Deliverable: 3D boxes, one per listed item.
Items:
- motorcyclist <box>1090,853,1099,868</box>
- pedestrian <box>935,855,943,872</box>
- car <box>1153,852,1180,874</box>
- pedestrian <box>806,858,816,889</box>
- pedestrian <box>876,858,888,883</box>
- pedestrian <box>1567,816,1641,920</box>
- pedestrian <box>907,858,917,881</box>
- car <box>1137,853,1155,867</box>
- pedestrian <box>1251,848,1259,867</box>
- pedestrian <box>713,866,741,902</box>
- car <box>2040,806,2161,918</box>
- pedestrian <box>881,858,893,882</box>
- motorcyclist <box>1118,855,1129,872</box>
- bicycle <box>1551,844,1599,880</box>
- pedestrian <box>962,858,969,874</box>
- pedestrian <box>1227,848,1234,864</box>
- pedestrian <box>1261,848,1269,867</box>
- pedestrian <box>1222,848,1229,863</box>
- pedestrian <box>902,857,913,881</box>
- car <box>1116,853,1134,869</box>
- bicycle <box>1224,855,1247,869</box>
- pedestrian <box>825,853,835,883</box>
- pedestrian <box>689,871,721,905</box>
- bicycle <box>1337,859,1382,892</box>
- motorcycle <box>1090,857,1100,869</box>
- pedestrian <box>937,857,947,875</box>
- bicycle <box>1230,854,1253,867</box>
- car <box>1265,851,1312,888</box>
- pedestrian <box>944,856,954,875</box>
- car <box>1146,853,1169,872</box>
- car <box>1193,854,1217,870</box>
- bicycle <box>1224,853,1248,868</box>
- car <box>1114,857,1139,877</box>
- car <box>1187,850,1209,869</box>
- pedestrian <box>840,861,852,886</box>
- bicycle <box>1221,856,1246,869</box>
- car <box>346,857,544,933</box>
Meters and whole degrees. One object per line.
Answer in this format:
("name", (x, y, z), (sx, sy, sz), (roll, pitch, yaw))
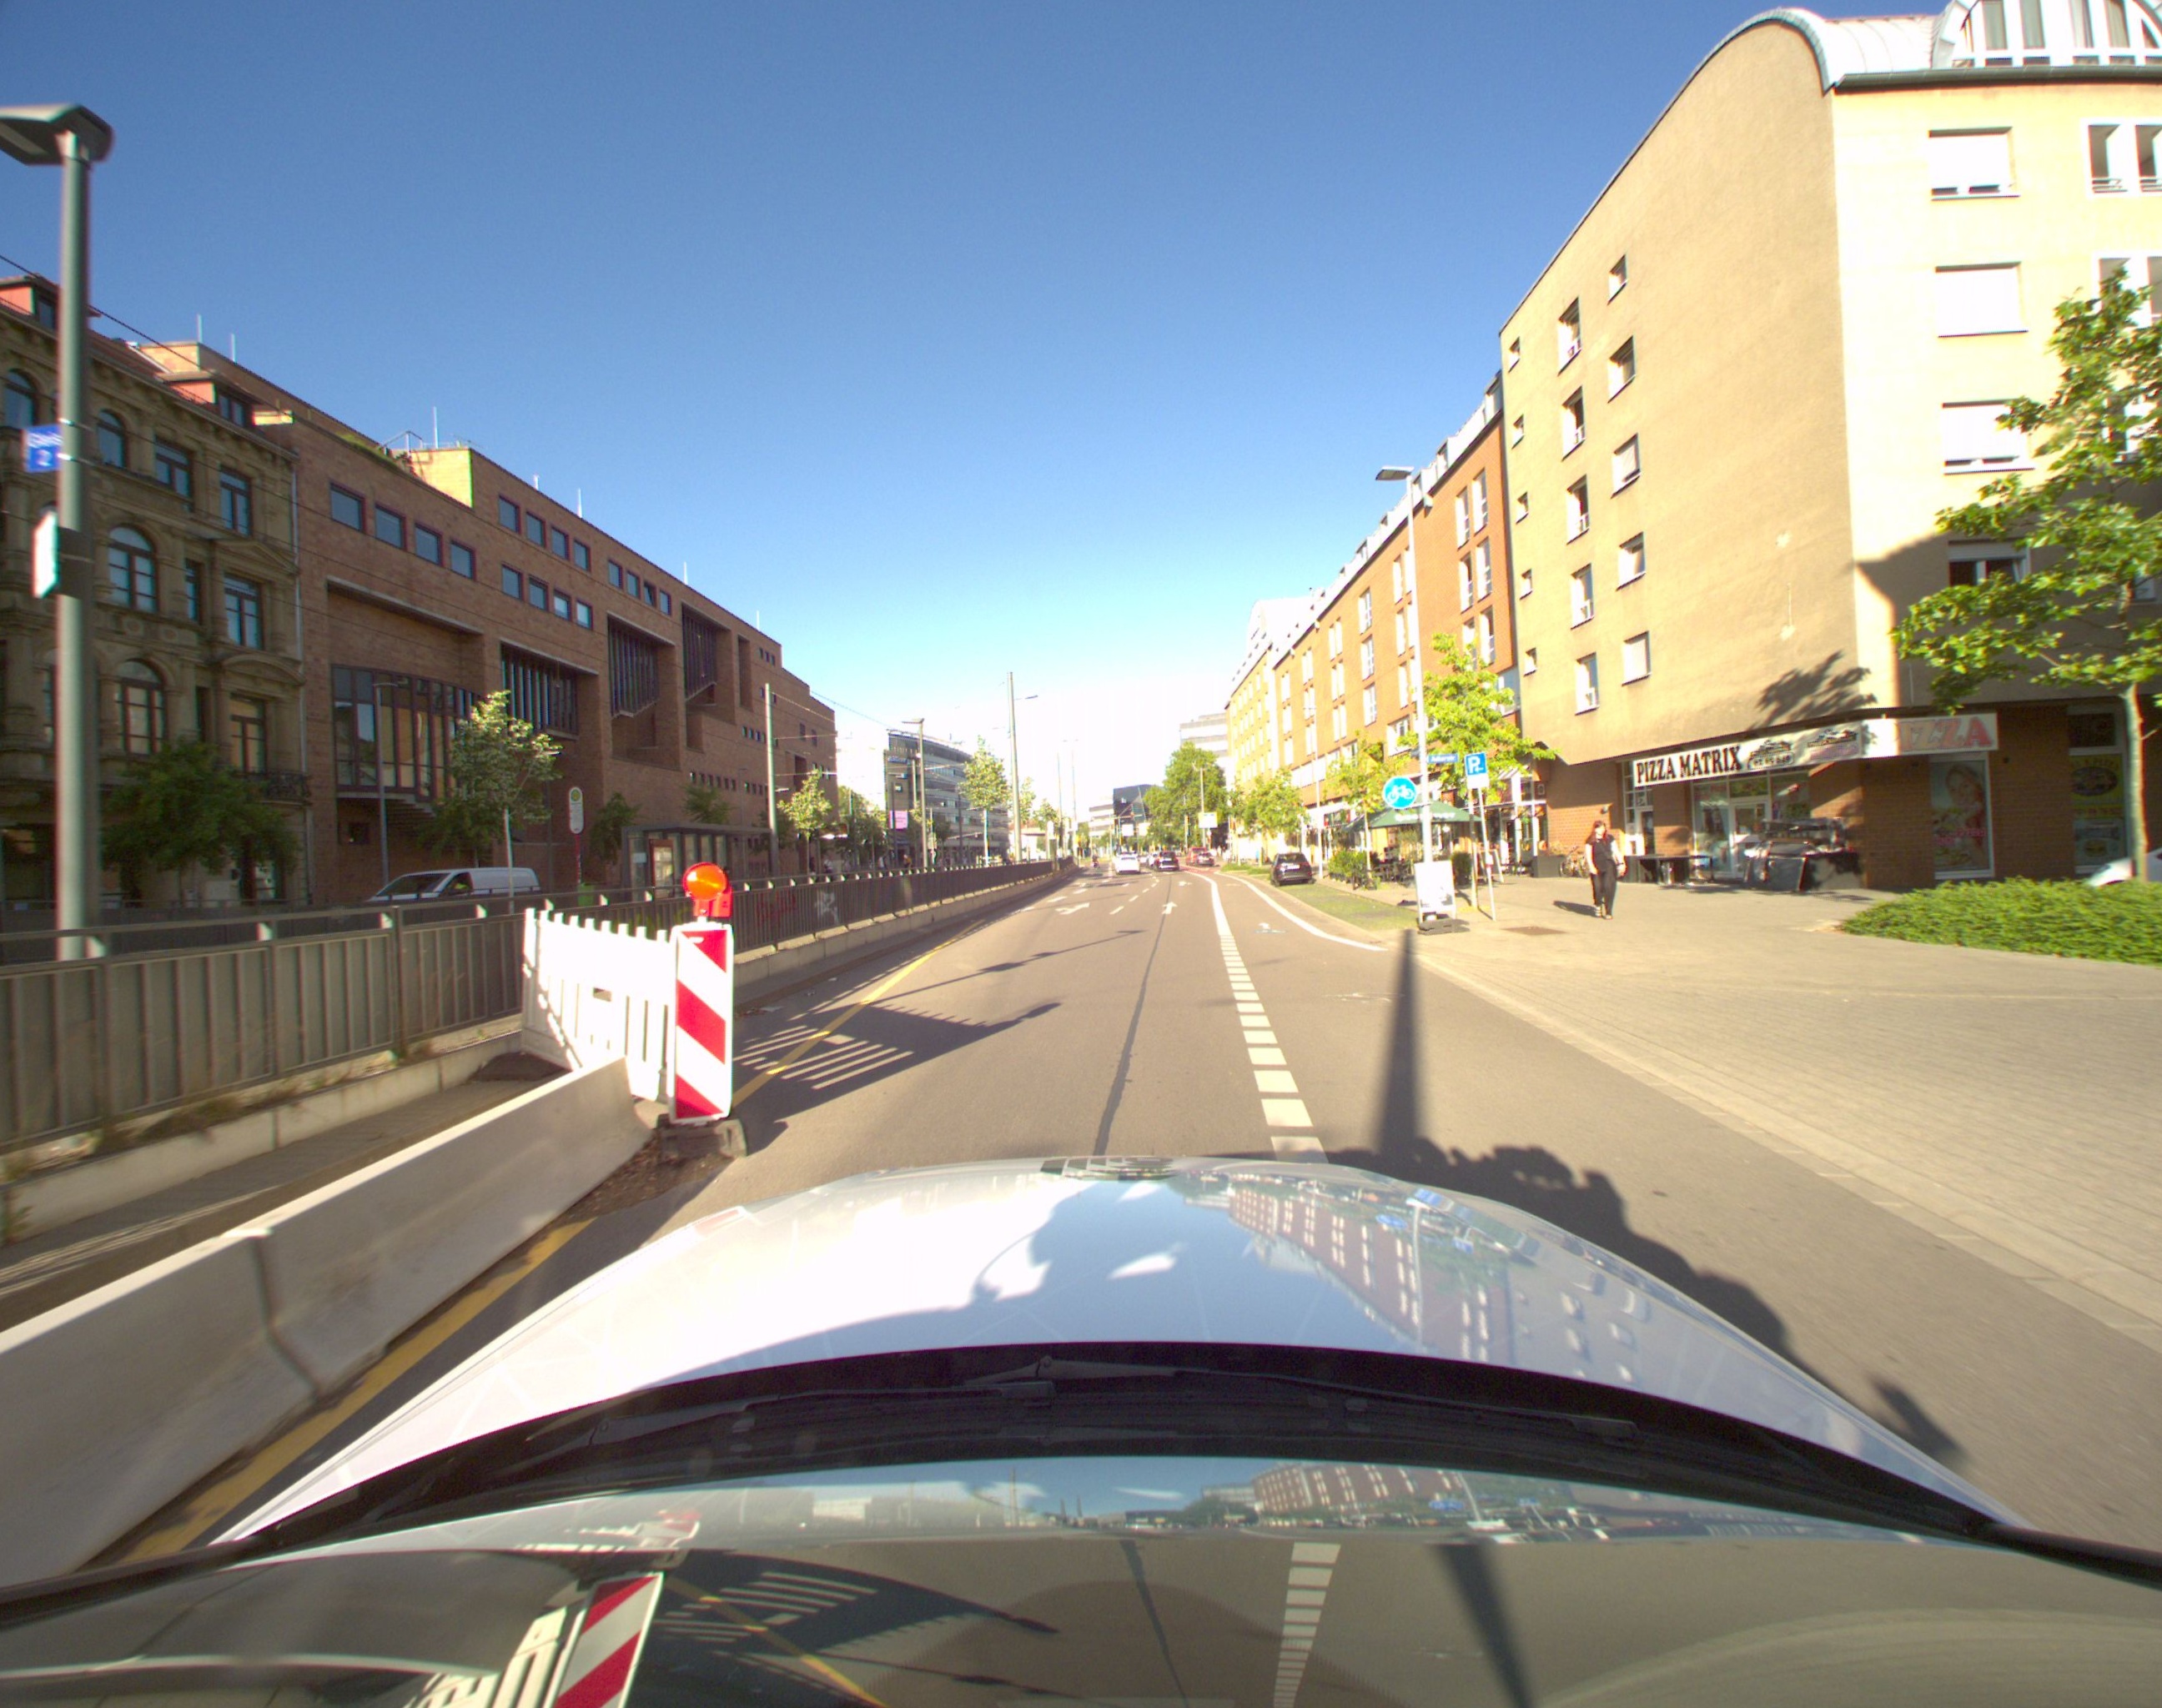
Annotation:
("motorcyclist", (1.484, 0.684, 88.792), (1.015, 1.603, 1.149), (0, 0, 2))
("pedestrian", (-13.699, 0.952, 78.574), (0.561, 1.609, 0.616), (-1, 0, 2))
("car", (7.173, 0.699, 68.500), (1.967, 1.759, 4.635), (0, 0, 2))
("pedestrian", (-14.116, 1.010, 42.569), (0.376, 1.648, 0.416), (0, 0, 2))
("pedestrian", (-13.720, 1.133, 56.196), (0.620, 1.714, 0.616), (-1, 0, 2))
("pedestrian", (9.402, 0.247, 14.685), (0.876, 1.763, 1.112), (-5, -2, 26))
("pedestrian", (-13.080, 1.215, 63.119), (0.579, 1.738, 0.616), (-1, 0, 2))
("car", (7.392, 0.668, 93.056), (1.844, 1.497, 4.381), (-2, 0, 2))
("pedestrian", (16.674, 0.352, 77.991), (0.604, 1.821, 0.748), (-2, -1, 1))
("pedestrian", (-13.746, 1.159, 31.632), (0.643, 1.309, 0.722), (-4, 0, 2))
("car", (15.233, 0.098, 10.231), (1.662, 1.474, 3.824), (0, 0, -10))
("pedestrian", (-13.641, 1.129, 57.241), (0.620, 1.612, 0.616), (-1, 0, 2))
("motorcyclist", (3.717, 0.804, 71.774), (0.834, 1.475, 1.236), (-2, 0, 1))
("bicycle", (16.946, 0.259, 27.969), (0.612, 1.169, 1.536), (-4, 0, -1))
("pedestrian", (-12.818, 1.320, 90.168), (0.611, 1.817, 0.897), (-1, 0, 2))
("pedestrian", (17.516, 0.187, 95.233), (0.604, 1.821, 0.748), (-2, -1, 1))
("pedestrian", (17.751, 0.343, 78.523), (0.604, 1.821, 0.748), (-2, -1, 1))
("pedestrian", (17.588, 0.184, 98.960), (0.604, 1.821, 0.748), (-2, -1, 1))
("pedestrian", (-12.447, 1.084, 58.364), (0.638, 1.696, 0.541), (0, 0, 2))
("car", (4.141, 0.639, 77.408), (1.686, 1.497, 4.411), (0, 0, 2))
("bicycle", (13.289, 0.691, 70.057), (1.932, 1.075, 0.556), (-4, -1, 12))
("pedestrian", (-13.926, 0.778, 45.225), (0.376, 1.621, 0.553), (0, 0, 2))
("pedestrian", (-13.647, 1.227, 29.589), (0.718, 1.168, 0.722), (-4, 0, 2))
("bicycle", (10.055, 0.780, 29.457), (0.763, 1.081, 1.996), (-7, -1, -1))
("motorcycle", (1.492, 0.962, 88.767), (1.015, 1.312, 2.916), (0, 0, 2))
("pedestrian", (-12.067, 1.028, 70.529), (0.638, 1.608, 0.946), (0, 0, 2))
("bicycle", (14.351, 0.599, 72.936), (1.931, 1.074, 0.628), (-4, -1, 13))
("car", (9.971, 0.708, 39.399), (1.711, 1.636, 4.241), (-3, 0, 8))
("pedestrian", (-11.411, 1.003, 70.487), (0.638, 1.643, 0.946), (0, 0, 2))
("car", (7.113, 0.790, 76.029), (1.844, 1.639, 4.380), (-2, 0, 2))
("car", (12.302, 0.746, 80.806), (1.839, 1.560, 4.635), (0, 0, 2))
("bicycle", (13.408, 0.582, 70.576), (1.932, 1.137, 0.492), (-4, -1, 12))
("car", (3.494, 0.967, 63.019), (1.774, 1.414, 4.821), (0, 0, 2))
("car", (12.480, 0.573, 87.146), (1.852, 1.961, 4.004), (-3, 0, 3))
("pedestrian", (-13.854, 1.157, 48.005), (0.537, 1.459, 0.643), (0, 0, 2))
("bicycle", (12.867, 0.741, 68.842), (1.929, 1.022, 0.504), (-4, -1, 19))
("car", (-17.607, 1.092, 22.898), (1.988, 1.881, 4.580), (0, -2, -1))
